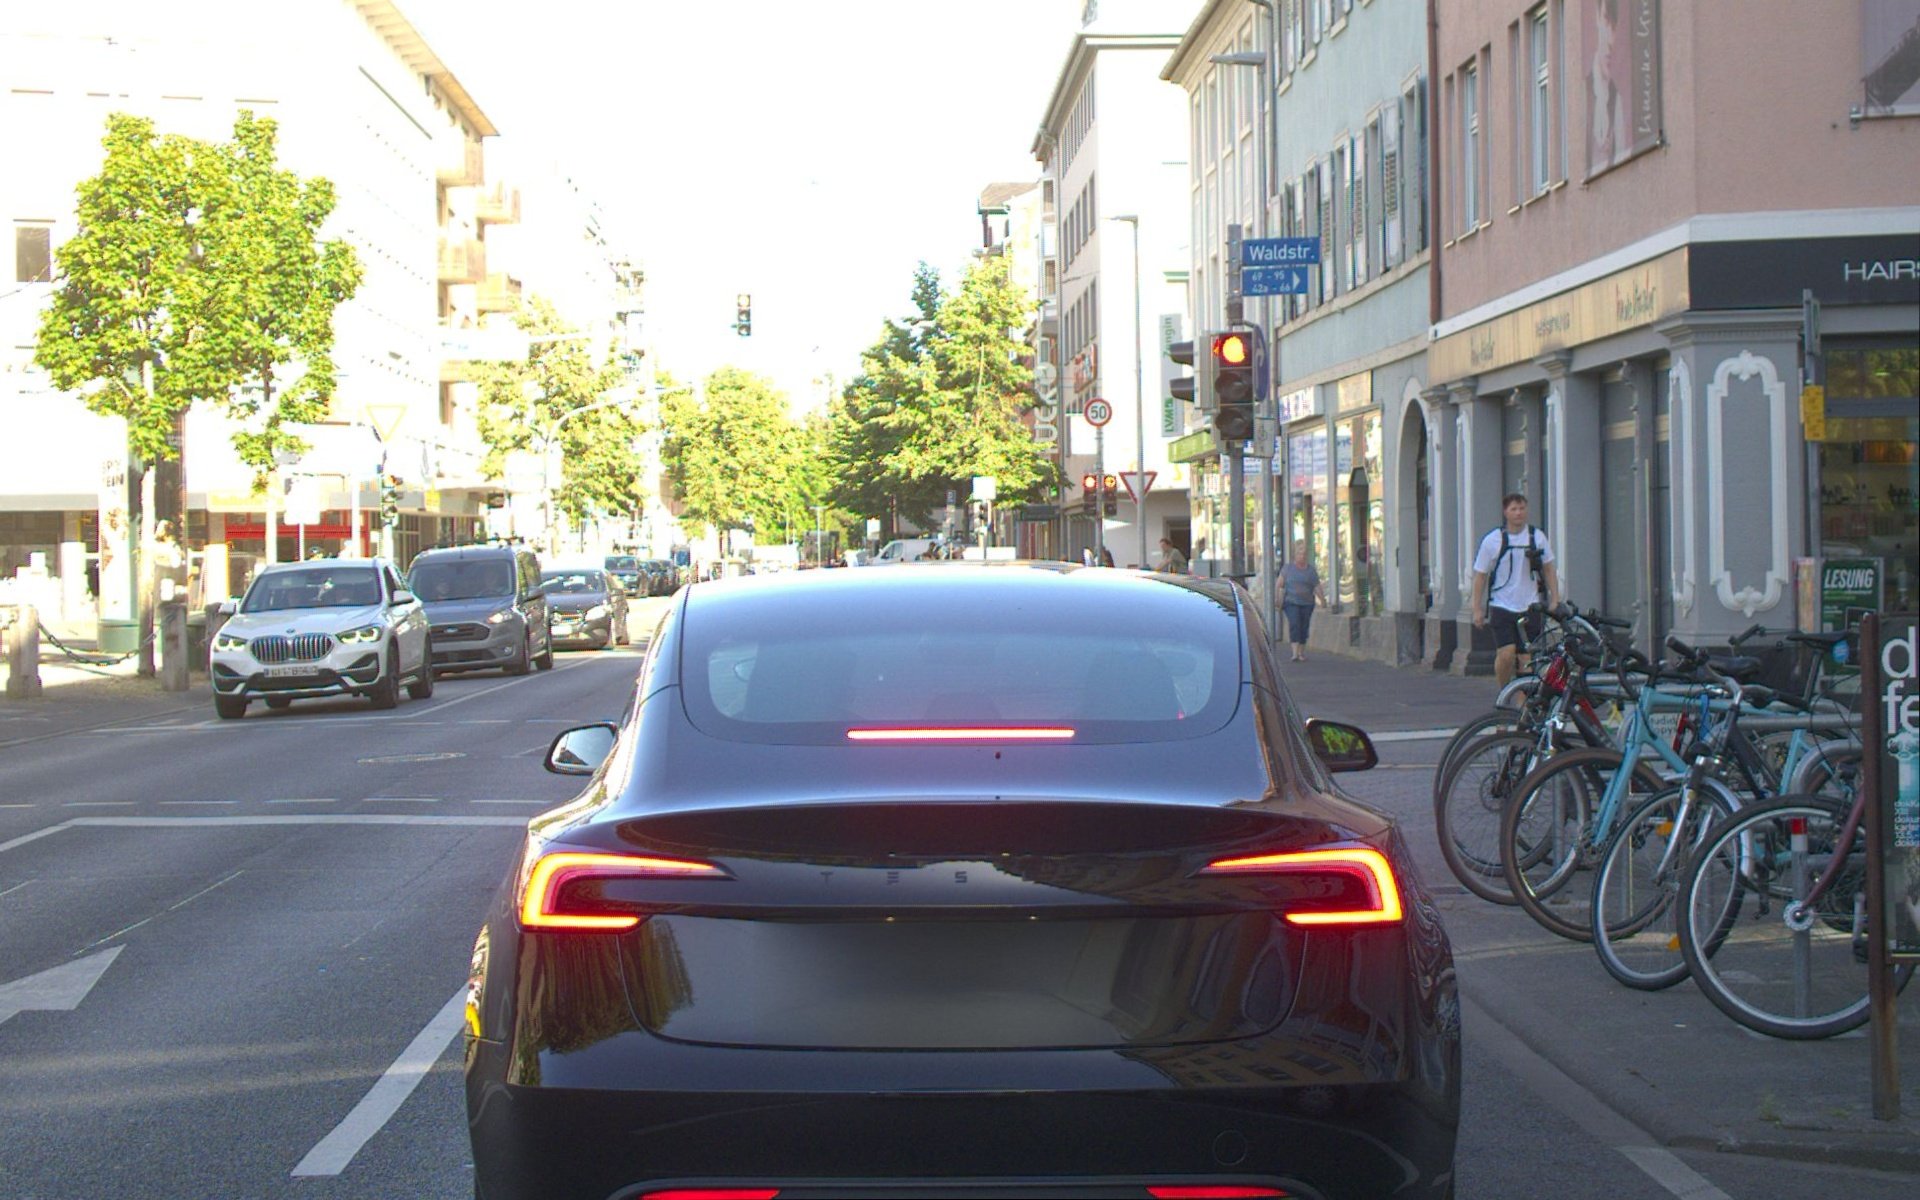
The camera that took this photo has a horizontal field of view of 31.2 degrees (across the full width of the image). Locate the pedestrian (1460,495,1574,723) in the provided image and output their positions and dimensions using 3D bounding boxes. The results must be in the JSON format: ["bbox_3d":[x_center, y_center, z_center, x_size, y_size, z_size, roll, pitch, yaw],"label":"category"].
[{"bbox_3d":[4.423,0.066,27.340,0.750,1.759,0.836,-2,0,4],"label":"pedestrian"}]

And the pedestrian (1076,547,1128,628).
[{"bbox_3d":[2.865,-0.256,69.341,0.754,1.626,0.956,1,0,-18],"label":"pedestrian"}]

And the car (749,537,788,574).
[{"bbox_3d":[-10.409,-2.426,187.153,1.993,2.007,4.000,0,1,-1],"label":"car"}]

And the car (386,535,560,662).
[{"bbox_3d":[-6.569,-0.058,46.787,1.787,1.640,4.403,0,1,-1],"label":"car"}]

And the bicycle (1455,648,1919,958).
[{"bbox_3d":[2.775,0.723,12.448,1.873,1.034,0.533,-2,0,4],"label":"bicycle"}]

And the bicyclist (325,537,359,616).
[{"bbox_3d":[-11.874,-0.448,66.074,0.522,1.498,0.476,1,0,-24],"label":"bicyclist"}]

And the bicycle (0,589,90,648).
[{"bbox_3d":[-14.833,0.289,54.607,1.864,0.931,0.606,0,1,-1],"label":"bicycle"}]

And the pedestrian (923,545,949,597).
[{"bbox_3d":[-0.659,-0.784,94.236,0.521,1.417,0.479,1,0,-30],"label":"pedestrian"}]

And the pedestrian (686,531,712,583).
[{"bbox_3d":[-8.526,-1.392,112.266,0.848,1.689,0.718,0,1,-3],"label":"pedestrian"}]

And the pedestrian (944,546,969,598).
[{"bbox_3d":[-0.096,-0.770,94.996,0.521,1.417,0.479,1,0,-30],"label":"pedestrian"}]

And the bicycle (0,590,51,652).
[{"bbox_3d":[-14.805,0.314,52.158,1.864,0.931,0.606,0,1,-1],"label":"bicycle"}]

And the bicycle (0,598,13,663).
[{"bbox_3d":[-14.758,0.424,49.874,1.864,0.931,0.606,1,0,-1],"label":"bicycle"}]

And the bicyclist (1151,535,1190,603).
[{"bbox_3d":[4.370,-0.638,71.247,0.669,1.390,0.462,1,0,-16],"label":"bicyclist"}]

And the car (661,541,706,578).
[{"bbox_3d":[-11.741,-1.744,146.002,1.706,1.546,3.697,0,1,-2],"label":"car"}]

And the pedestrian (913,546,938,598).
[{"bbox_3d":[-0.948,-0.778,95.016,0.472,1.412,0.522,1,0,-31],"label":"pedestrian"}]

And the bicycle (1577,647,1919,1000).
[{"bbox_3d":[2.993,0.706,11.165,1.873,1.084,0.414,-2,0,4],"label":"bicycle"}]

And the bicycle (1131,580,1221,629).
[{"bbox_3d":[4.477,0.094,71.288,1.784,1.003,0.472,1,0,-16],"label":"bicycle"}]

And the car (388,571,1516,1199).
[{"bbox_3d":[-0.035,0.661,7.559,1.822,1.437,4.000,0,1,-1],"label":"car"}]

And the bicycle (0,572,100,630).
[{"bbox_3d":[-20.754,0.022,77.919,2.361,1.291,0.513,1,0,-26],"label":"bicycle"}]

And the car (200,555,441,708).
[{"bbox_3d":[-6.652,0.295,36.116,1.789,1.455,3.757,-2,1,0],"label":"car"}]

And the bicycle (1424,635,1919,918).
[{"bbox_3d":[2.812,0.692,13.626,1.873,1.034,0.547,-2,0,5],"label":"bicycle"}]

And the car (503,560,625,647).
[{"bbox_3d":[-6.878,0.044,60.025,1.715,1.441,3.845,1,1,-1],"label":"car"}]

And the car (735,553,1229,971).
[{"bbox_3d":[0.009,0.537,13.828,1.718,1.420,3.758,0,1,-2],"label":"car"}]

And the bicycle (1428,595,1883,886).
[{"bbox_3d":[2.962,0.595,14.745,1.828,1.165,0.505,-2,0,5],"label":"bicycle"}]

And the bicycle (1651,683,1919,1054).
[{"bbox_3d":[2.994,0.759,9.991,1.873,1.034,0.353,-2,0,6],"label":"bicycle"}]

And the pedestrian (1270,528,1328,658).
[{"bbox_3d":[4.539,-0.099,46.049,0.706,1.736,0.540,0,1,-1],"label":"pedestrian"}]
